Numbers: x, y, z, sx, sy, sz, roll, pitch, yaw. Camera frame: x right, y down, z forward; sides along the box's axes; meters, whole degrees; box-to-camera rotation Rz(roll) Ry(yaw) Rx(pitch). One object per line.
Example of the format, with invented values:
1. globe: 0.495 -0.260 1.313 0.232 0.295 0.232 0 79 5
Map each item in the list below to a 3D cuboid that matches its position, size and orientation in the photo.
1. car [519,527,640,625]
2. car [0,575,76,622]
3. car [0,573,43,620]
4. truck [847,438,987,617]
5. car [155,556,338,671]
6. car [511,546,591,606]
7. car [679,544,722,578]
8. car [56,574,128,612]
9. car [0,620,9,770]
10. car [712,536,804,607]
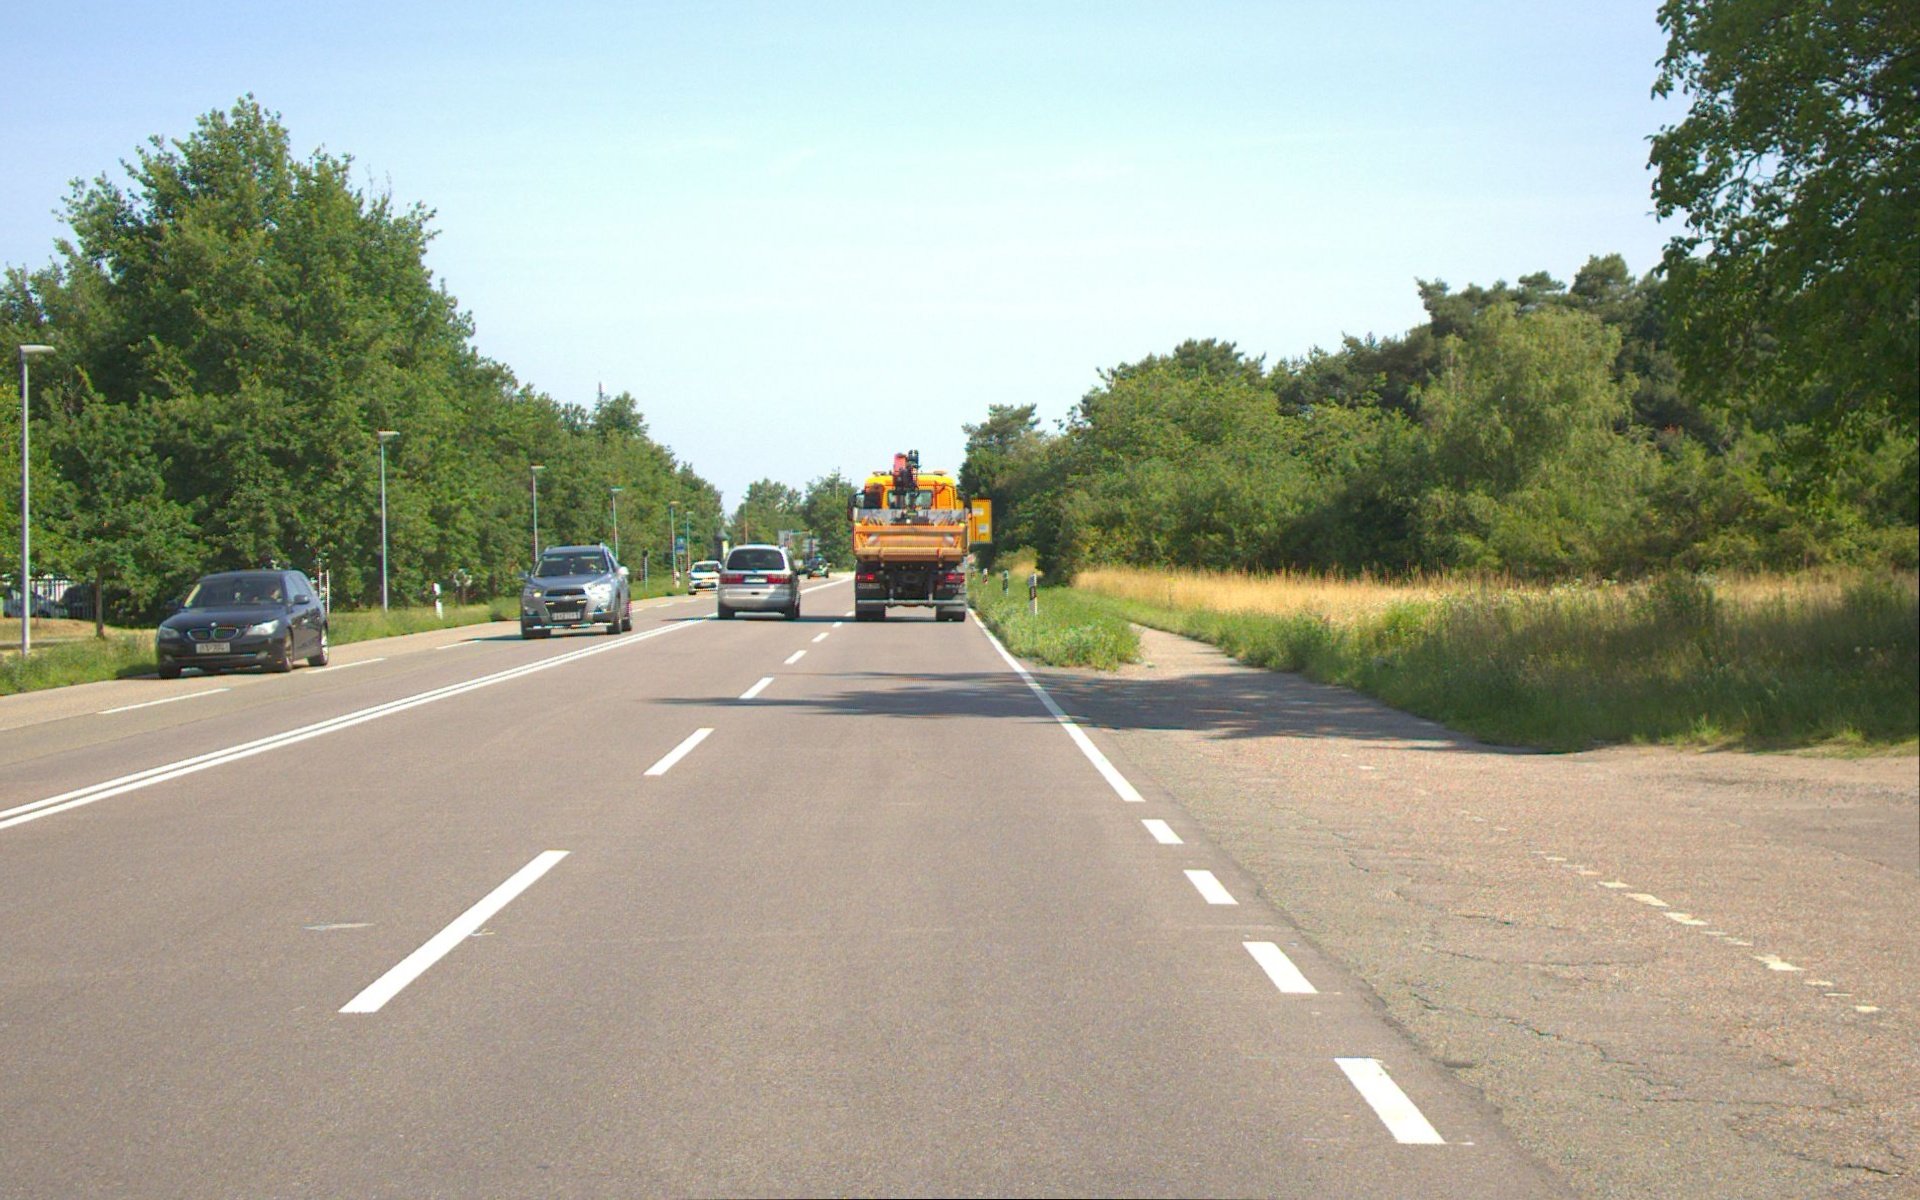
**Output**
1. car: -7.217 -0.485 65.531 1.771 1.708 4.570 -3 1 -1
2. car: -31.983 -0.034 115.683 3.987 1.495 1.758 -2 1 -1
3. car: -32.022 -0.075 111.588 3.987 1.495 1.758 -2 1 -1
4. truck: -1.063 -1.626 78.586 2.871 3.867 7.401 1 1 -3
5. car: -10.203 0.158 49.493 1.652 1.475 4.741 -3 1 -1
6. car: -11.079 -0.660 93.341 1.729 1.555 4.215 1 1 -1
7. car: -11.719 -1.778 155.520 1.659 1.432 3.736 -3 1 -1
8. car: -33.225 -0.295 131.677 1.787 1.345 4.664 -2 1 -3
9. car: -7.178 0.458 20.989 1.650 1.492 3.844 -3 1 -1
10. car: -4.600 -0.673 78.688 1.993 1.578 4.000 -1 1 -2
